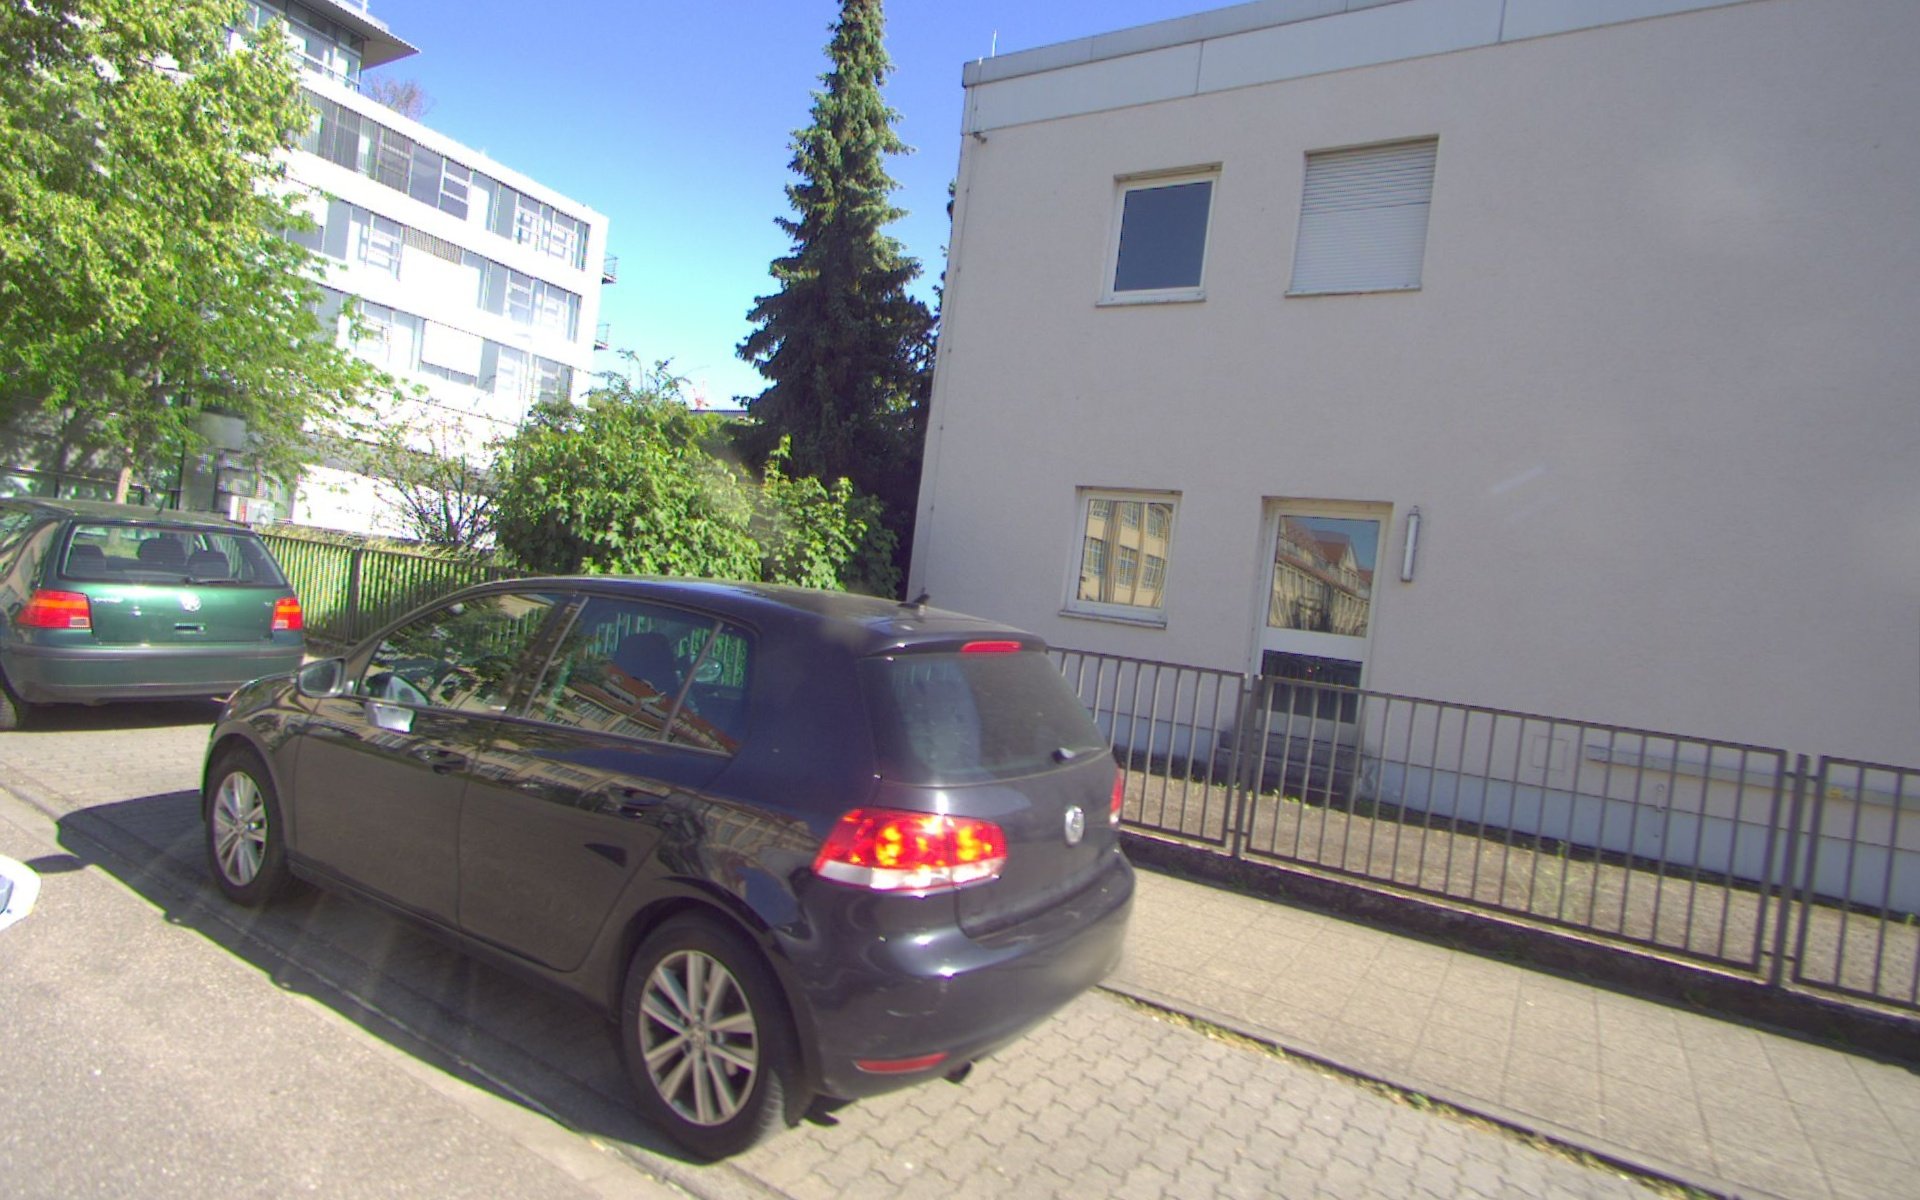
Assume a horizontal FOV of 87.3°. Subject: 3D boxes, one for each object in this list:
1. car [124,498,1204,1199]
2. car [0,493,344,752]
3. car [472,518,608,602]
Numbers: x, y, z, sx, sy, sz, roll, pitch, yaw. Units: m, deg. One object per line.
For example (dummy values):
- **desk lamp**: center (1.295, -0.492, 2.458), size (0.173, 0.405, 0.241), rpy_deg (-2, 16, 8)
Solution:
- **car**: center (-1.300, 0.610, 3.990), size (3.932, 1.535, 1.786), rpy_deg (7, 1, 30)
- **car**: center (-6.702, -0.024, 7.559), size (4.351, 1.440, 1.747), rpy_deg (6, 1, 32)
- **car**: center (-17.372, -1.671, 41.561), size (5.381, 2.656, 2.226), rpy_deg (9, 2, 32)
